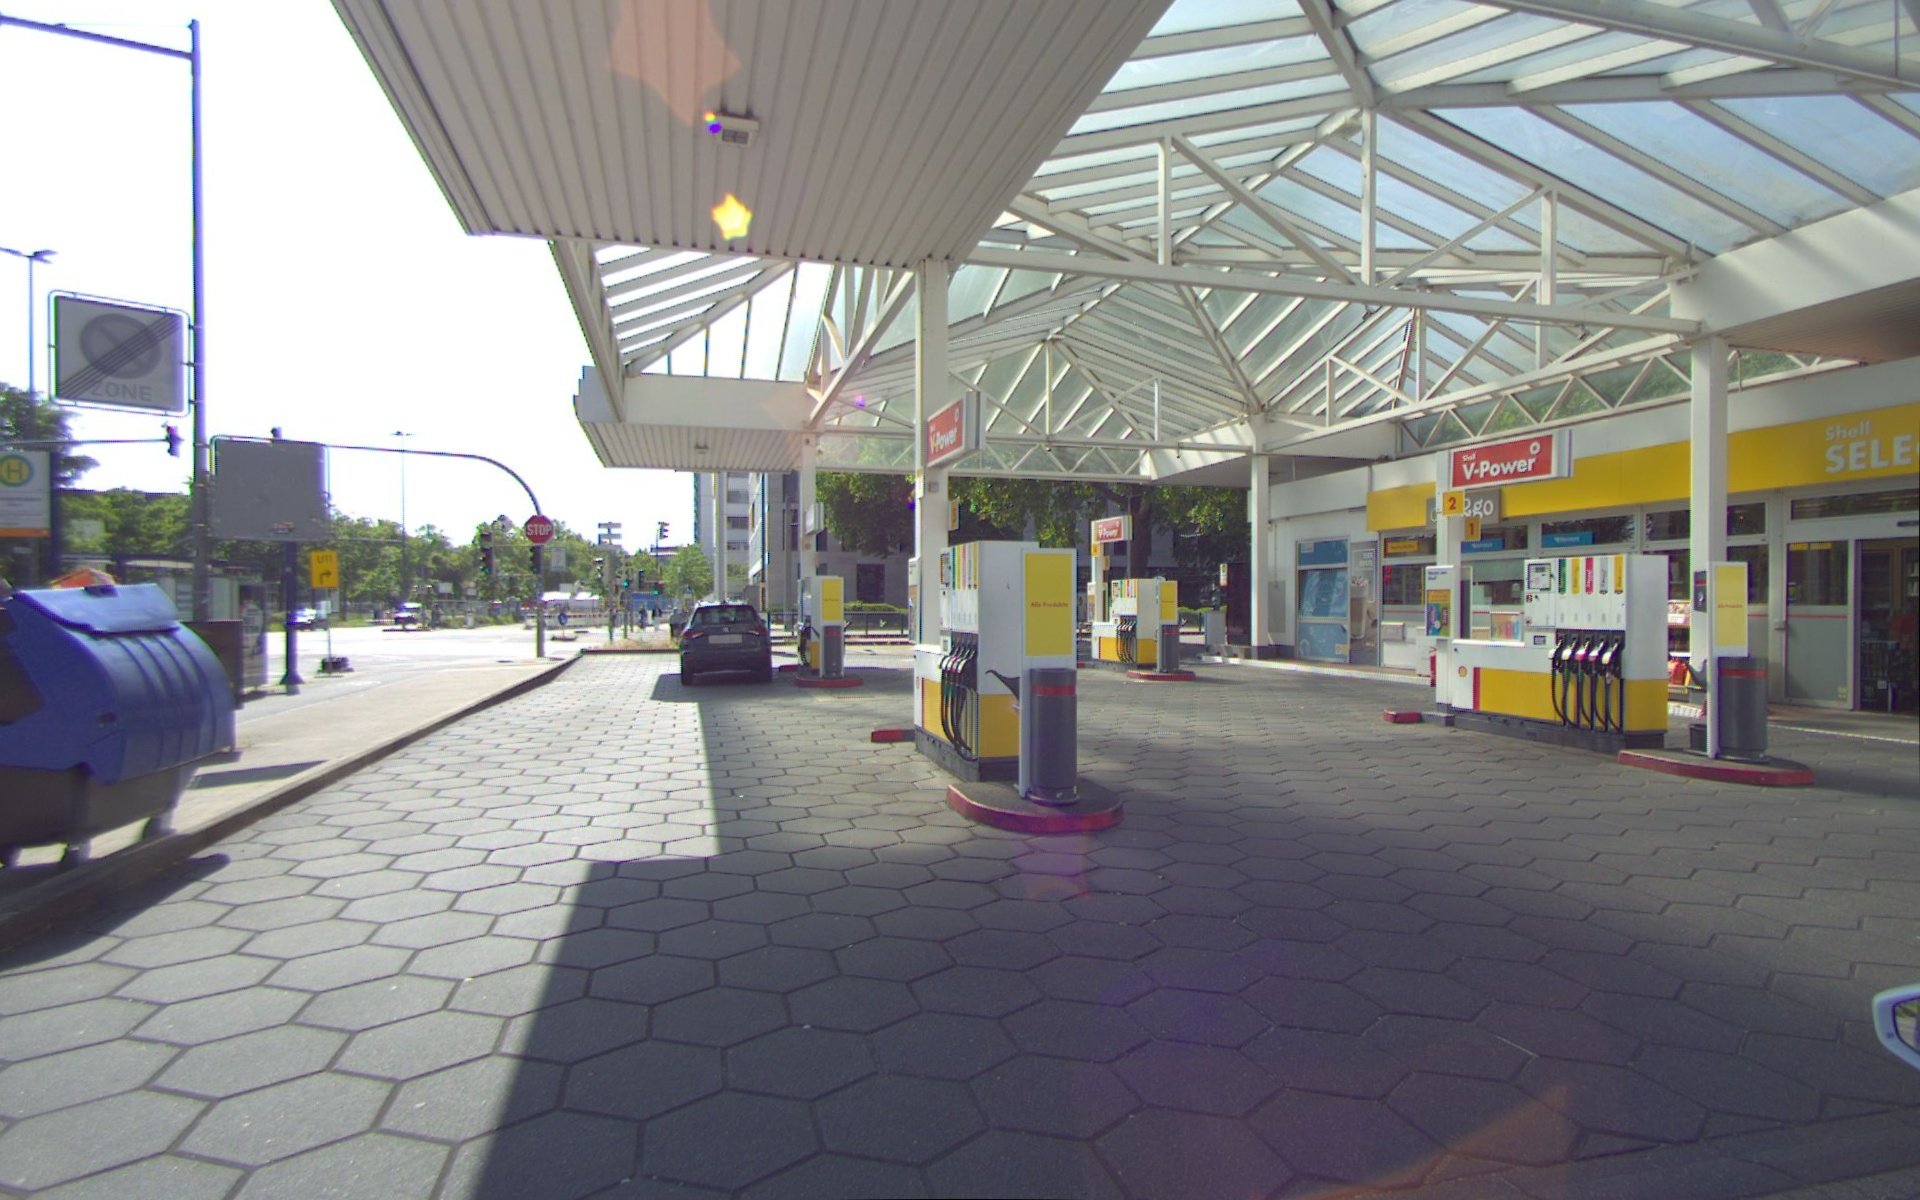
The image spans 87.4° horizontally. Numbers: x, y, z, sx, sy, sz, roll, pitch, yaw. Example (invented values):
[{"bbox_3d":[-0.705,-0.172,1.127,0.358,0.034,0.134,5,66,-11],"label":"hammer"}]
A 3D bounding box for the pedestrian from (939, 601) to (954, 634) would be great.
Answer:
[{"bbox_3d":[-0.677,0.885,49.995,0.576,1.613,0.668,0,2,-16],"label":"pedestrian"}]

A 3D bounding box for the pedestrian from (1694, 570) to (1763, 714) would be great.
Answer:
[{"bbox_3d":[9.870,0.526,12.903,0.525,1.785,0.567,0,0,-36],"label":"pedestrian"}]

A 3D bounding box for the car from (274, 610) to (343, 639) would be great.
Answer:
[{"bbox_3d":[-44.452,1.624,68.642,1.961,1.829,4.210,-2,0,-2],"label":"car"}]

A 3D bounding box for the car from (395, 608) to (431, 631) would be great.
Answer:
[{"bbox_3d":[-50.089,1.777,92.060,1.968,2.040,4.430,-2,0,-17],"label":"car"}]

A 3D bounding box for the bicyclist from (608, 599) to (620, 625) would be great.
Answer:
[{"bbox_3d":[-21.995,0.771,63.783,0.631,1.601,1.166,0,0,-24],"label":"bicyclist"}]

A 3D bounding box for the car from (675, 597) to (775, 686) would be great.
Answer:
[{"bbox_3d":[-4.769,0.771,20.054,1.720,1.552,3.987,-1,0,-16],"label":"car"}]

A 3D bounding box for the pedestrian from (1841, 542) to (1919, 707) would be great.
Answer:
[{"bbox_3d":[11.829,0.302,12.828,0.732,2.040,0.619,0,0,-25],"label":"pedestrian"}]

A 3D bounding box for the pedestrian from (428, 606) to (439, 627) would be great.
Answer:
[{"bbox_3d":[-35.918,1.121,68.547,0.556,1.488,0.512,0,0,-16],"label":"pedestrian"}]

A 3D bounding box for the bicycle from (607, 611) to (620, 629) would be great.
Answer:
[{"bbox_3d":[-21.959,1.241,63.660,0.631,1.096,2.014,0,0,-25],"label":"bicycle"}]

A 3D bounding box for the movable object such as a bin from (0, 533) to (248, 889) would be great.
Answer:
[{"bbox_3d":[-4.960,0.555,5.457,1.320,1.710,1.333,-2,0,-14],"label":"movable object such as a bin"}]

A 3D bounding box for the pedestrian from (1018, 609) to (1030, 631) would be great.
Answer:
[{"bbox_3d":[3.263,1.018,51.280,0.491,1.153,0.523,0,0,-9],"label":"pedestrian"}]

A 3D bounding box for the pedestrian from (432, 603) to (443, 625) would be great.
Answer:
[{"bbox_3d":[-36.100,0.945,69.386,0.555,1.488,0.512,0,0,-13],"label":"pedestrian"}]

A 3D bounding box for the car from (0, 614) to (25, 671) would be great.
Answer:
[{"bbox_3d":[-31.419,1.327,30.413,1.960,1.792,4.392,0,0,4],"label":"car"}]
